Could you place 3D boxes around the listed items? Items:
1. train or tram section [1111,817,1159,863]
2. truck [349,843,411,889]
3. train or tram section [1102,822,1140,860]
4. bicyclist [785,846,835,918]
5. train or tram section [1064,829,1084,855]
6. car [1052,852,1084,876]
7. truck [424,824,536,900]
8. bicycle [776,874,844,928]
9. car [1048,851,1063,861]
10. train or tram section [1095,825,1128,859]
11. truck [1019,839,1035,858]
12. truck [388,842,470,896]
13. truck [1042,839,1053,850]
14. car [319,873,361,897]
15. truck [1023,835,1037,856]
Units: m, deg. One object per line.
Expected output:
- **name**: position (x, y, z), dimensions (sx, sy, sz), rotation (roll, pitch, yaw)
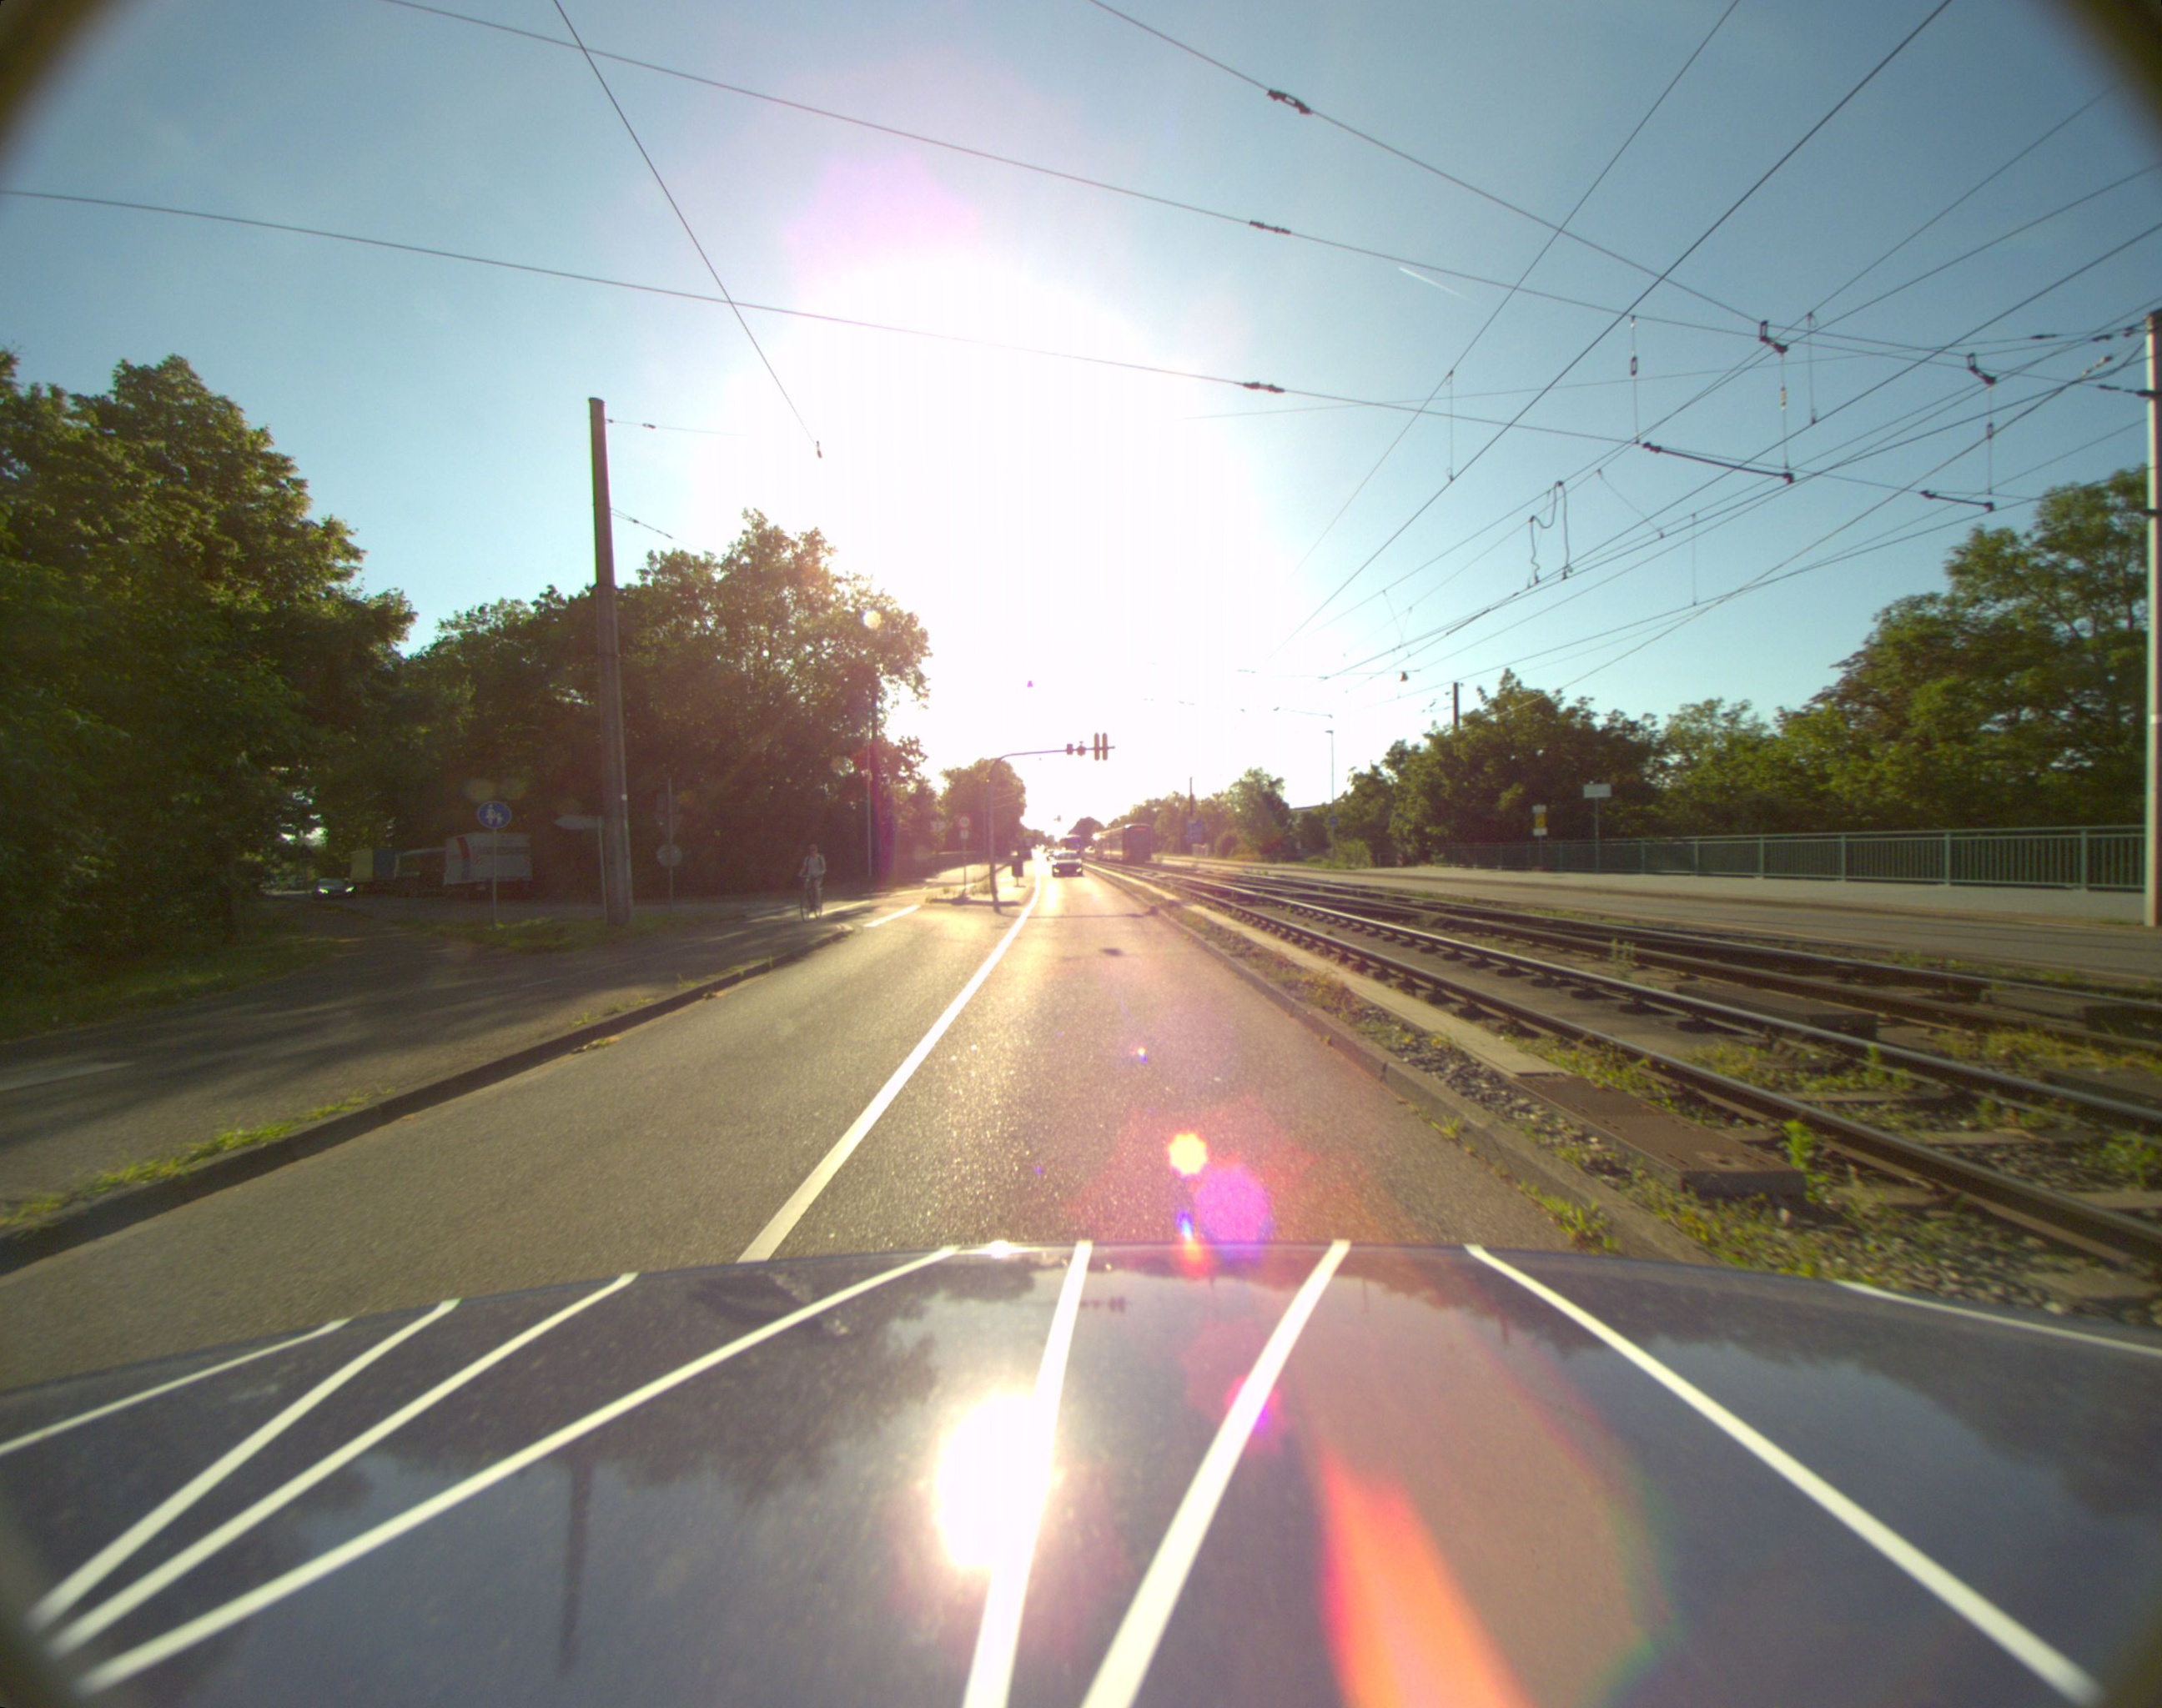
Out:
- **train or tram section**: position (4.900, -1.252, 71.863), dimensions (2.986, 3.878, 12.696), rotation (-1, 1, -3)
- **truck**: position (-61.102, 1.006, 66.190), dimensions (7.956, 3.822, 2.566), rotation (-1, 1, 37)
- **train or tram section**: position (4.294, -1.360, 84.019), dimensions (2.984, 3.878, 11.660), rotation (-1, 1, -3)
- **bicyclist**: position (-6.700, 0.670, 18.873), dimensions (0.733, 1.680, 1.202), rotation (-4, 1, -2)
- **train or tram section**: position (-1.254, -1.873, 123.269), dimensions (2.570, 3.878, 11.666), rotation (-1, 1, -4)
- **car**: position (-0.814, 0.573, 45.047), dimensions (1.802, 1.345, 3.999), rotation (0, 0, -2)
- **truck**: position (-34.546, 0.456, 43.470), dimensions (9.857, 3.974, 2.566), rotation (-1, 1, 37)
- **bicycle**: position (-6.656, 1.125, 18.855), dimensions (0.733, 1.116, 2.741), rotation (-4, 0, -2)
- **car**: position (-3.248, 0.245, 97.523), dimensions (1.801, 1.345, 4.000), rotation (0, 0, 0)
- **train or tram section**: position (3.715, -1.476, 96.340), dimensions (3.012, 3.878, 13.075), rotation (-1, 1, -3)
- **truck**: position (-9.318, -0.965, 132.063), dimensions (2.610, 3.186, 7.867), rotation (-1, 1, -3)
- **truck**: position (-44.606, 1.006, 51.929), dimensions (7.956, 3.429, 2.566), rotation (-1, 1, 37)
- **truck**: position (-10.964, -3.106, 247.984), dimensions (3.315, 3.283, 15.316), rotation (-1, 1, -3)
- **car**: position (-51.549, 2.141, 52.832), dimensions (3.989, 1.543, 1.741), rotation (-1, 1, 41)
- **truck**: position (-9.976, -1.660, 148.653), dimensions (2.559, 3.826, 7.867), rotation (-1, 1, -3)
